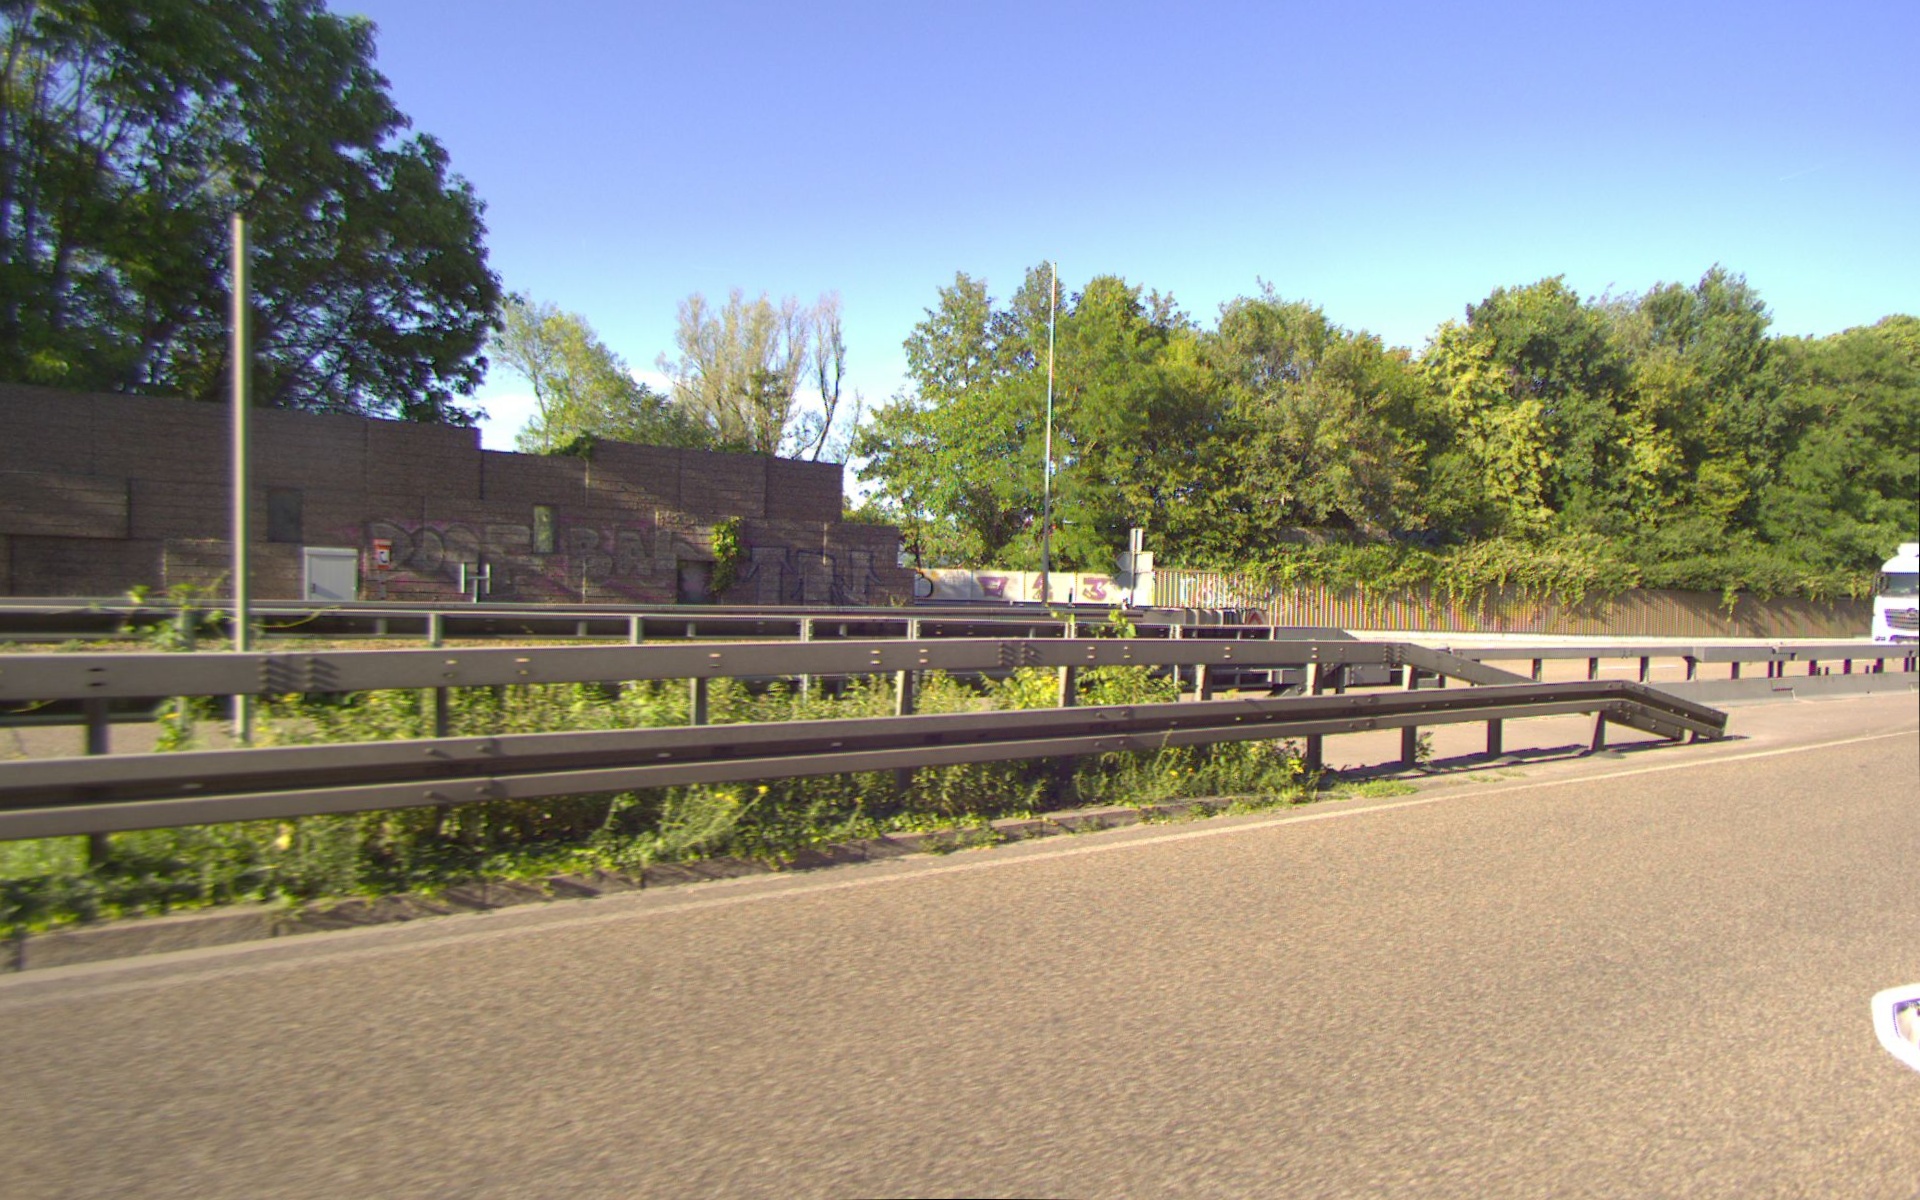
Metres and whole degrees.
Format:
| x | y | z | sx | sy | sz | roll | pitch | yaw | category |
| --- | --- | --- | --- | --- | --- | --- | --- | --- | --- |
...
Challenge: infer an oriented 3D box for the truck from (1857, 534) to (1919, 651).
| x | y | z | sx | sy | sz | roll | pitch | yaw | category |
| --- | --- | --- | --- | --- | --- | --- | --- | --- | --- |
| 37.972 | -0.304 | 39.003 | 6.313 | 4.319 | 2.721 | 0 | 3 | -31 | truck |

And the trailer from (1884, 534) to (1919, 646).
| x | y | z | sx | sy | sz | roll | pitch | yaw | category |
| --- | --- | --- | --- | --- | --- | --- | --- | --- | --- |
| 43.621 | -0.361 | 42.437 | 13.922 | 4.338 | 2.733 | 0 | 3 | -31 | trailer |
